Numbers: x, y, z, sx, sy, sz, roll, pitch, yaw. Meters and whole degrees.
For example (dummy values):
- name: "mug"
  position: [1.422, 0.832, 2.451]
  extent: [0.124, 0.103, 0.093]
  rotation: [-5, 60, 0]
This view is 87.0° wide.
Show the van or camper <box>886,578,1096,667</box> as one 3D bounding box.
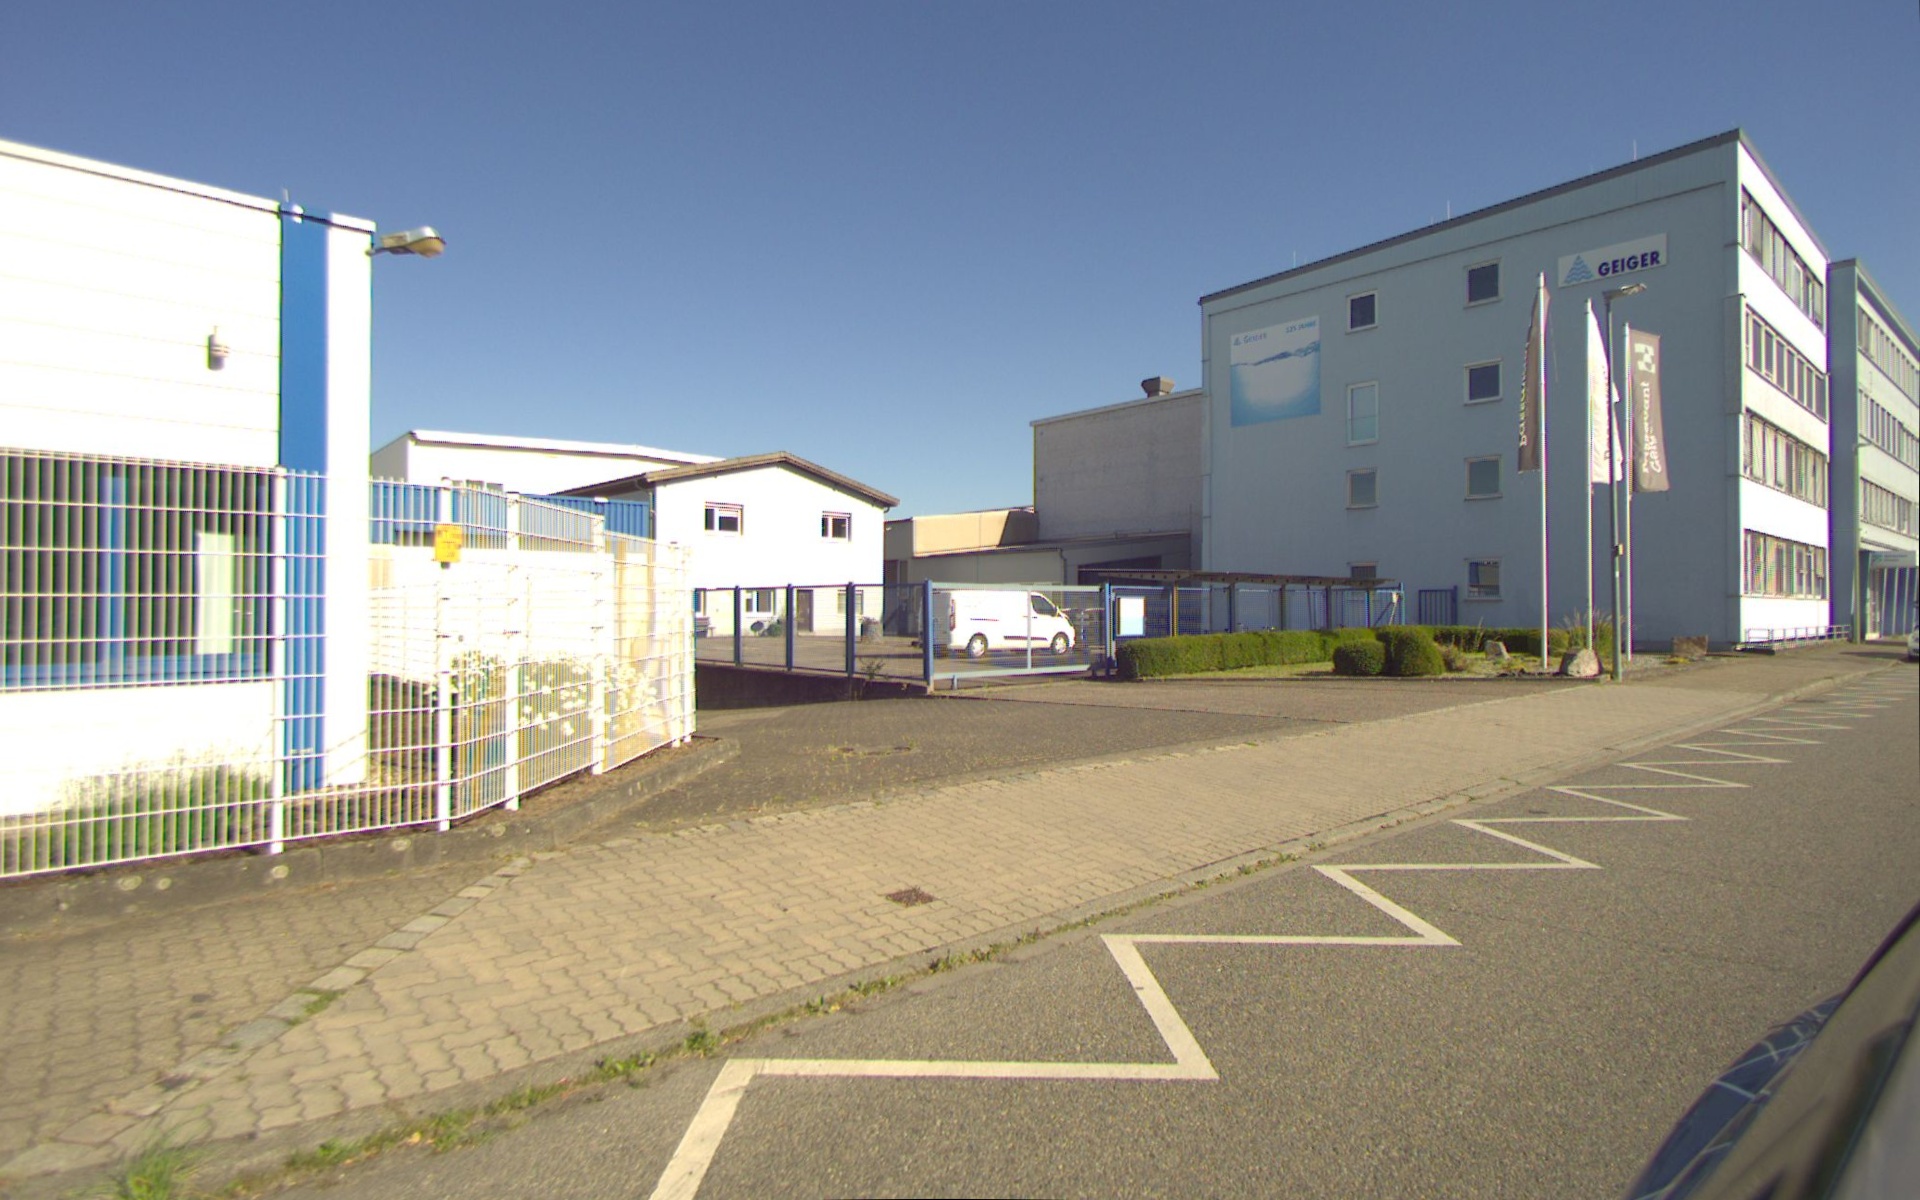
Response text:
- name: "van or camper"
  position: [1.044, 0.597, 30.252]
  extent: [6.396, 2.413, 2.104]
  rotation: [-1, -2, -39]
